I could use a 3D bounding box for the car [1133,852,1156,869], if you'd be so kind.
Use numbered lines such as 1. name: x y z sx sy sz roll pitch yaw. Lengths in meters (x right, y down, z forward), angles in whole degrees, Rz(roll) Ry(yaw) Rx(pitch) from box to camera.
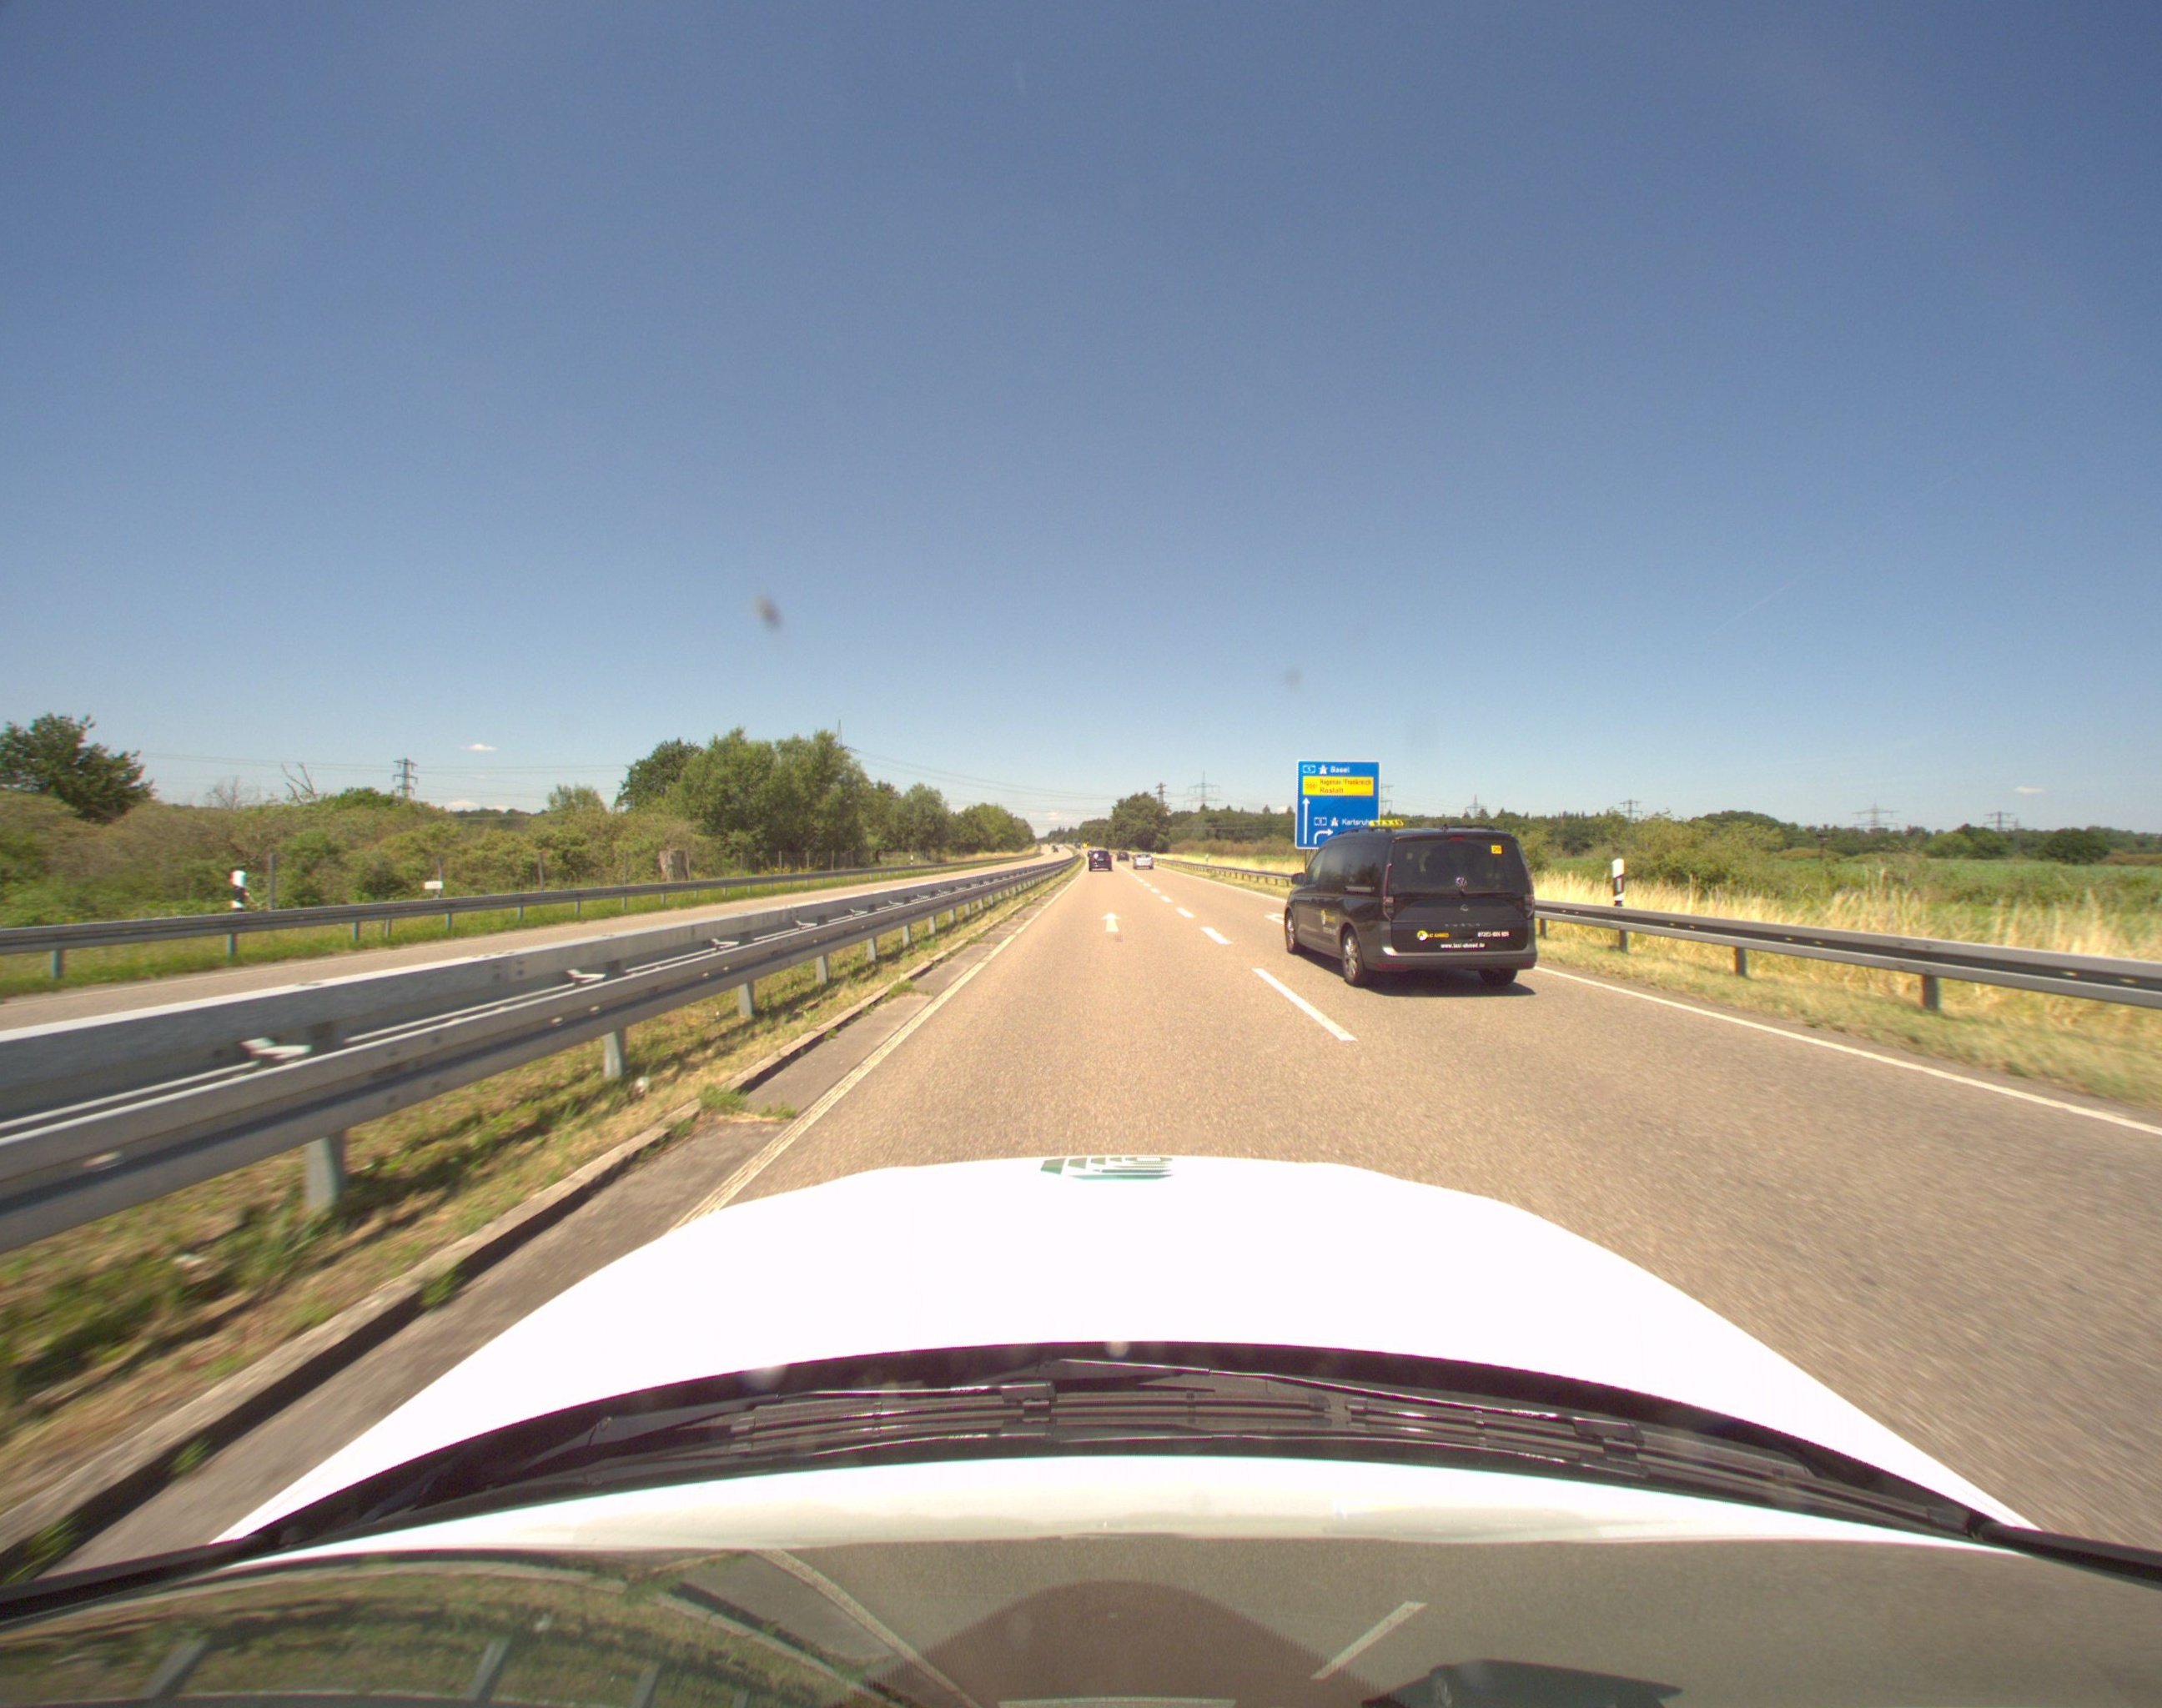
1. car: 5.680 0.562 73.306 1.772 1.479 4.317 1 0 1

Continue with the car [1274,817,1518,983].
1. car: 3.952 0.494 11.041 1.773 1.817 4.214 0 0 1

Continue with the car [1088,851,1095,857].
1. car: 2.346 -0.033 186.827 1.510 1.475 3.065 1 0 -1

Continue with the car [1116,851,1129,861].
1. car: 6.143 0.281 121.321 1.812 1.414 4.003 1 0 2

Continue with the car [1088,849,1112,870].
1. car: 1.594 0.466 68.103 1.986 1.654 4.001 1 0 1
